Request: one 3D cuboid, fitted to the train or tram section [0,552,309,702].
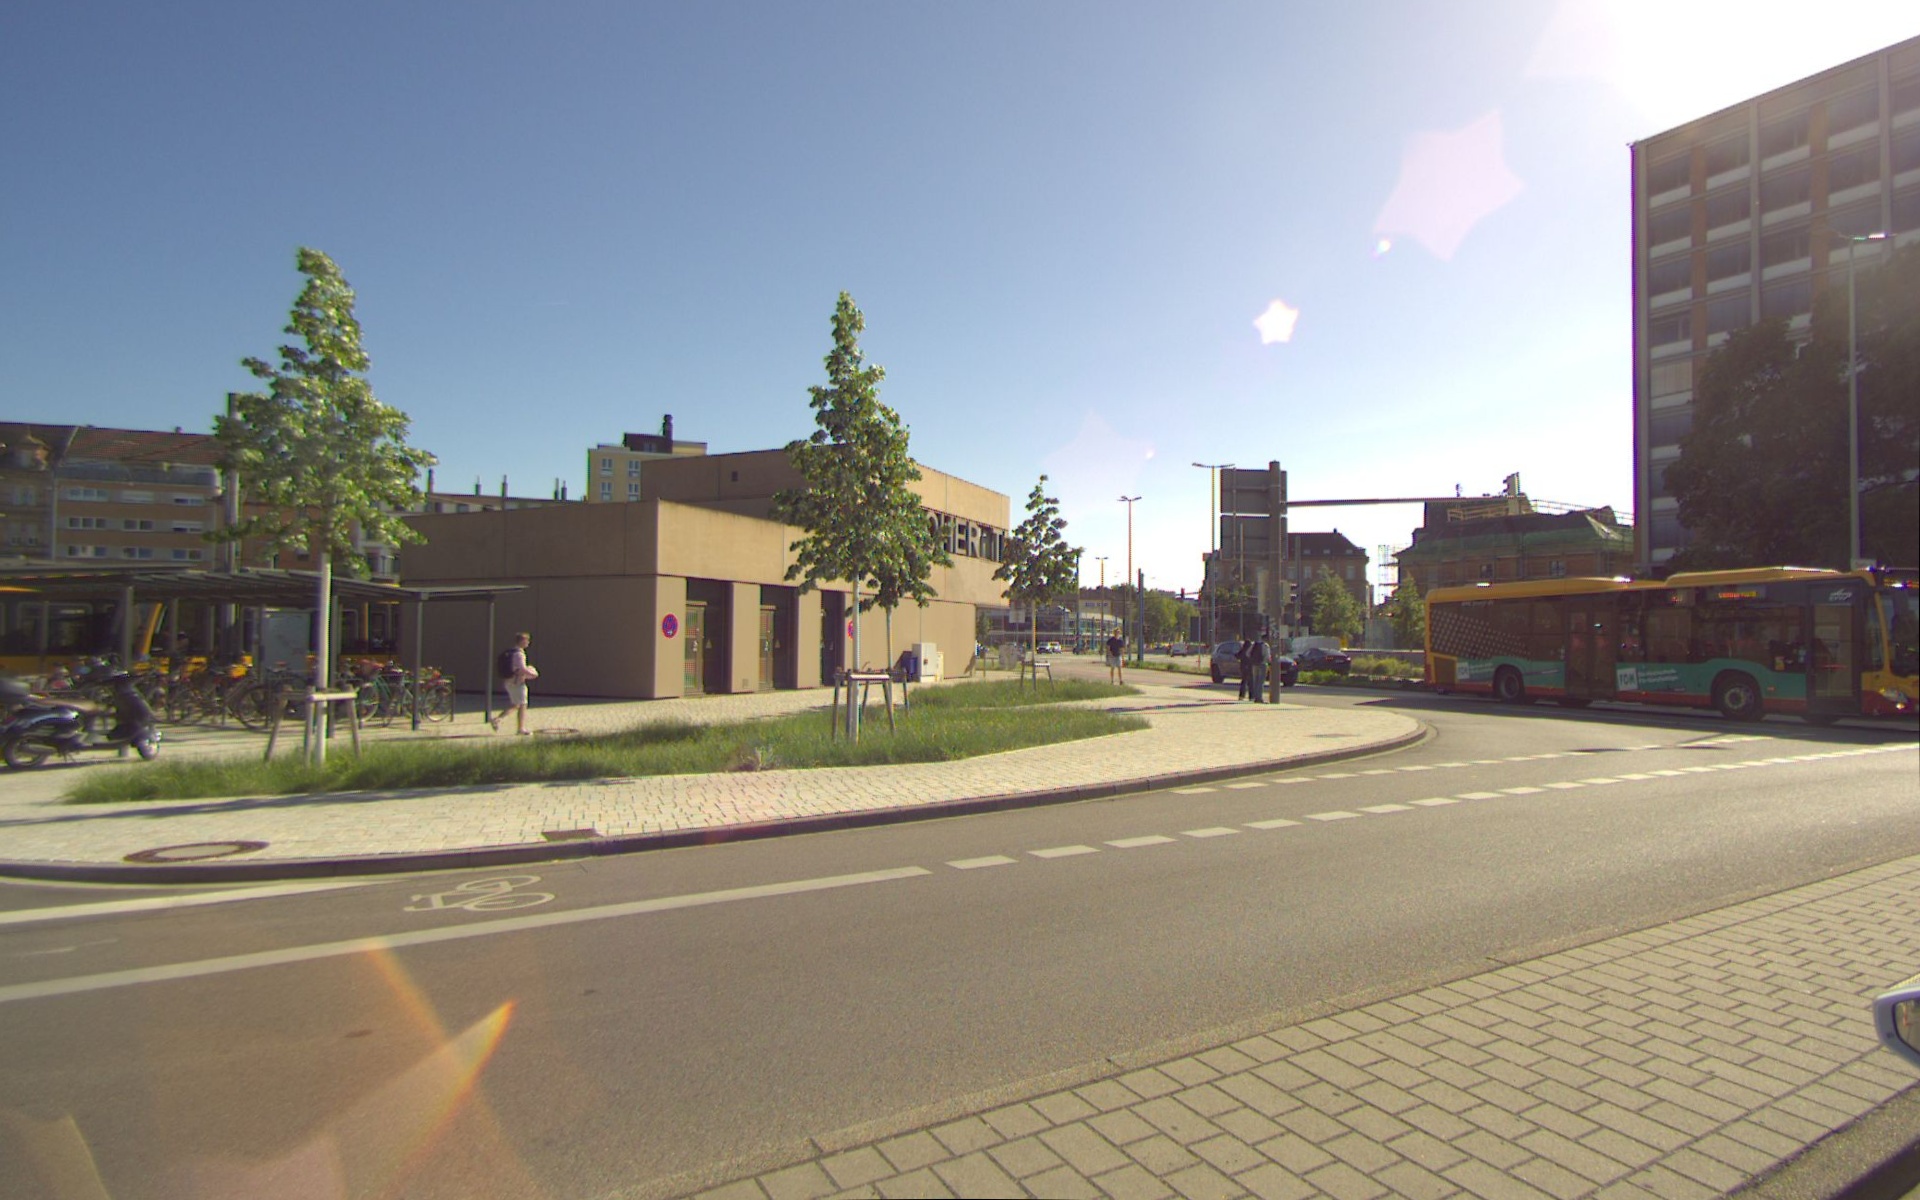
[{"bbox_3d":[-24.123,0.715,26.293,2.779,3.648,12.320,0,-2,24],"label":"train or tram section"}]

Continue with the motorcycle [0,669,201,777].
[{"bbox_3d":[-10.925,1.481,12.478,0.599,1.173,2.360,0,-2,25],"label":"motorcycle"}]

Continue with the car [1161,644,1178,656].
[{"bbox_3d":[32.096,7.720,153.960,1.960,1.603,4.001,2,0,2],"label":"car"}]

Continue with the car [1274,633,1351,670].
[{"bbox_3d":[26.081,3.753,74.718,2.955,2.580,6.955,1,-2,-4],"label":"car"}]

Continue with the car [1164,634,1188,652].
[{"bbox_3d":[27.374,5.398,127.362,2.025,2.040,4.000,2,0,-1],"label":"car"}]

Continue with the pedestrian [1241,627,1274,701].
[{"bbox_3d":[7.603,1.630,25.686,0.594,1.880,0.681,1,-2,-7],"label":"pedestrian"}]

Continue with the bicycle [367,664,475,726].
[{"bbox_3d":[-9.828,1.712,18.386,0.616,1.021,1.832,0,-2,16],"label":"bicycle"}]

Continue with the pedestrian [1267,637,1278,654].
[{"bbox_3d":[38.136,5.585,122.603,1.249,2.040,1.093,0,-2,13],"label":"pedestrian"}]

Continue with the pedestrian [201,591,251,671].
[{"bbox_3d":[-17.601,0.744,24.097,0.738,1.880,0.709,1,-2,-19],"label":"pedestrian"}]

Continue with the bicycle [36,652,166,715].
[{"bbox_3d":[-16.917,1.613,19.831,0.617,1.146,1.828,0,-2,27],"label":"bicycle"}]

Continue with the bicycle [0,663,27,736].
[{"bbox_3d":[-15.278,1.519,15.014,0.617,1.094,1.829,0,-2,25],"label":"bicycle"}]

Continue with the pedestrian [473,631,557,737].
[{"bbox_3d":[-7.579,1.395,17.125,0.826,1.727,1.020,-1,-2,38],"label":"pedestrian"}]

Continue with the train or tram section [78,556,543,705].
[{"bbox_3d":[-18.715,0.967,30.731,2.702,3.648,12.318,0,-2,25],"label":"train or tram section"}]

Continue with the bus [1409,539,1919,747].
[{"bbox_3d":[16.277,0.966,23.946,3.195,3.617,12.430,1,-2,-14],"label":"bus"}]

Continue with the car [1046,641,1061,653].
[{"bbox_3d":[13.719,6.925,147.519,1.865,1.728,4.003,0,-2,10],"label":"car"}]

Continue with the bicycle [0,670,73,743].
[{"bbox_3d":[-14.110,1.552,14.515,0.617,1.021,1.829,0,-2,25],"label":"bicycle"}]

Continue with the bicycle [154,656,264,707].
[{"bbox_3d":[-16.263,1.737,21.806,0.617,1.021,1.829,0,-2,25],"label":"bicycle"}]

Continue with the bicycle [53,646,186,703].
[{"bbox_3d":[-15.998,1.394,19.169,0.617,1.021,1.828,0,-2,27],"label":"bicycle"}]

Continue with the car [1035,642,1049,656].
[{"bbox_3d":[11.573,6.861,141.163,1.960,1.814,4.003,0,-2,5],"label":"car"}]

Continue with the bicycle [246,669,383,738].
[{"bbox_3d":[-10.678,1.681,16.685,0.617,1.021,1.828,0,-2,27],"label":"bicycle"}]

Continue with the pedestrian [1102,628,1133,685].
[{"bbox_3d":[5.259,1.877,33.651,0.826,1.869,0.866,1,-2,-7],"label":"pedestrian"}]

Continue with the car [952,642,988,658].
[{"bbox_3d":[1.160,5.692,113.933,3.919,1.795,1.784,0,-2,8],"label":"car"}]

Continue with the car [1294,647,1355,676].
[{"bbox_3d":[21.185,3.572,58.572,1.962,1.538,3.818,1,-2,-4],"label":"car"}]

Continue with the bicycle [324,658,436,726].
[{"bbox_3d":[-10.748,1.678,18.685,0.616,1.161,1.831,0,-2,18],"label":"bicycle"}]

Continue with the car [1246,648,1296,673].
[{"bbox_3d":[20.706,4.031,67.080,1.962,1.538,3.818,1,-2,-4],"label":"car"}]

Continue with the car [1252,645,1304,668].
[{"bbox_3d":[23.371,4.143,74.072,2.061,1.602,4.856,1,-2,-4],"label":"car"}]

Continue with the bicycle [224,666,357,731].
[{"bbox_3d":[-11.621,1.682,17.502,0.492,1.010,1.887,0,-2,31],"label":"bicycle"}]

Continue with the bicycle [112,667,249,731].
[{"bbox_3d":[-13.871,1.744,17.940,0.617,1.021,1.828,0,-2,27],"label":"bicycle"}]

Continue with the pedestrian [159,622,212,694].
[{"bbox_3d":[-18.489,1.373,23.988,0.593,1.681,0.772,0,-2,23],"label":"pedestrian"}]

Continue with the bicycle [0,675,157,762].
[{"bbox_3d":[-12.043,1.561,13.523,0.617,1.021,1.829,0,-2,25],"label":"bicycle"}]

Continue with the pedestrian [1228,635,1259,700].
[{"bbox_3d":[7.599,1.799,26.932,0.594,1.719,0.634,1,-2,-7],"label":"pedestrian"}]

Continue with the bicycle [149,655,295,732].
[{"bbox_3d":[-12.894,1.602,17.631,0.496,1.225,2.051,0,-2,26],"label":"bicycle"}]

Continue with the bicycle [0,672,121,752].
[{"bbox_3d":[-13.127,1.560,14.074,0.617,1.021,2.026,0,-2,25],"label":"bicycle"}]

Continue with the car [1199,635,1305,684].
[{"bbox_3d":[11.827,2.368,41.021,1.972,1.885,4.728,1,-2,-15],"label":"car"}]

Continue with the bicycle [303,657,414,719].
[{"bbox_3d":[-11.752,1.690,19.691,0.617,1.107,1.829,0,-2,25],"label":"bicycle"}]
